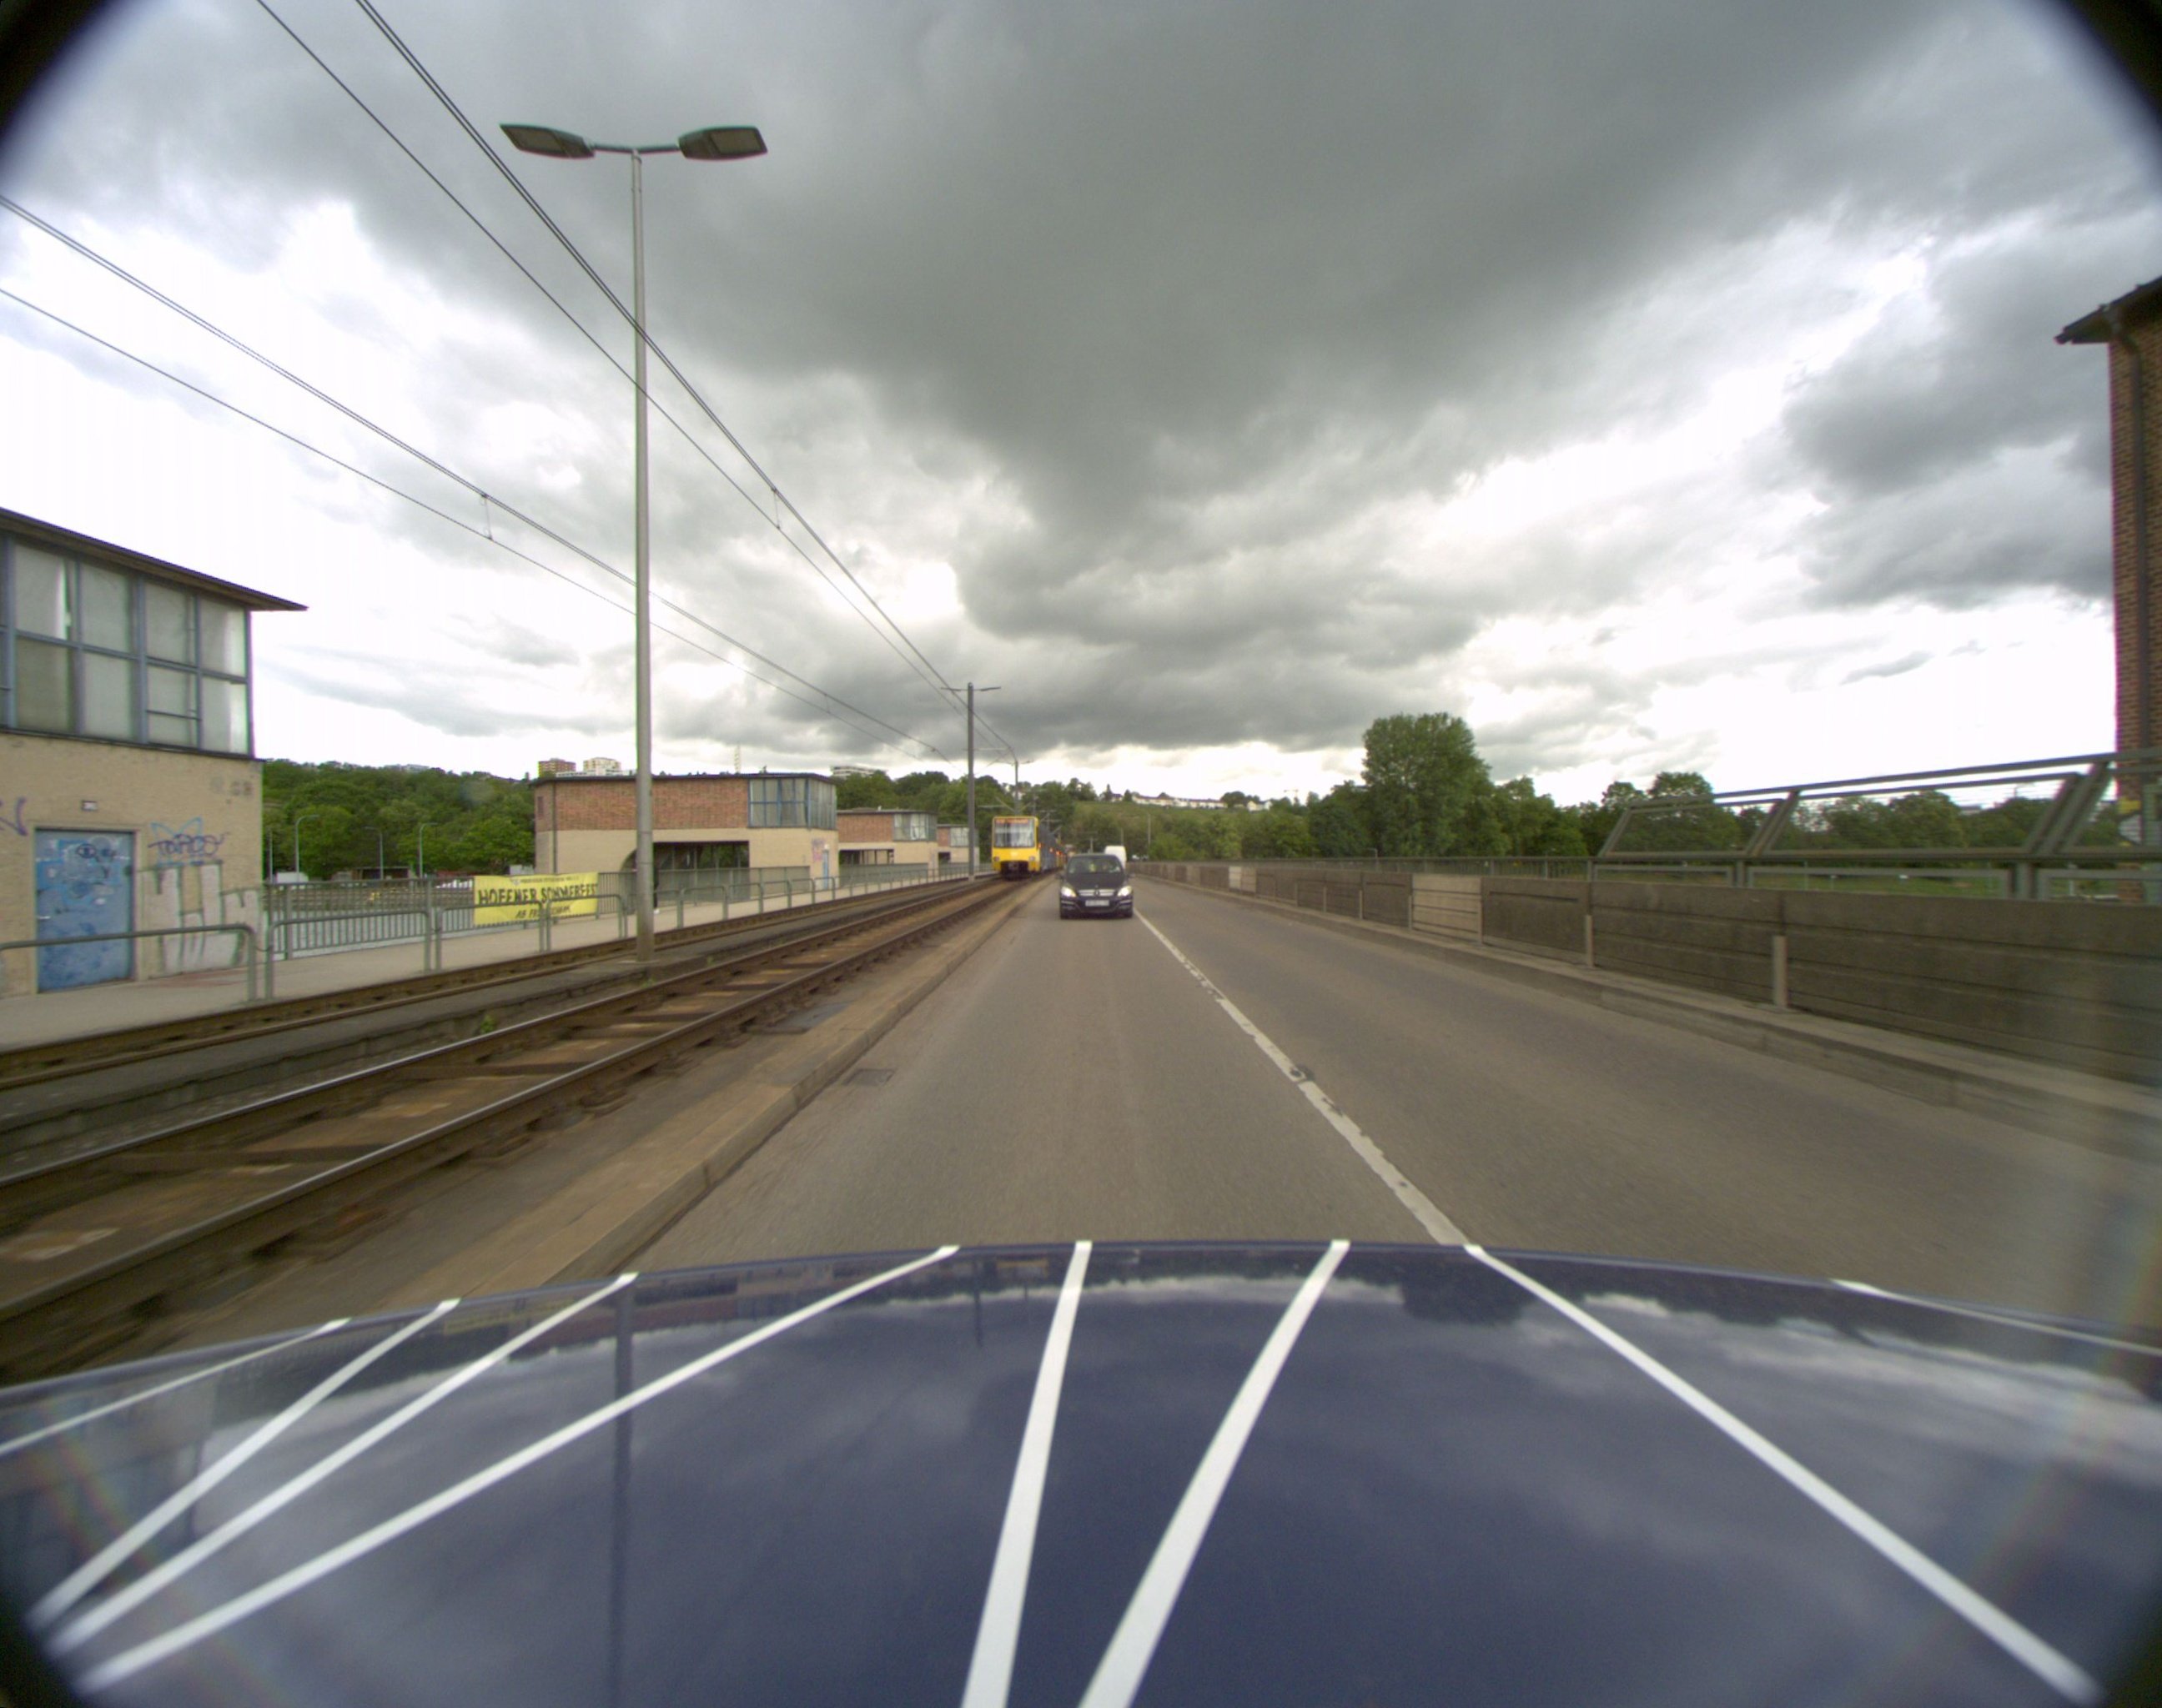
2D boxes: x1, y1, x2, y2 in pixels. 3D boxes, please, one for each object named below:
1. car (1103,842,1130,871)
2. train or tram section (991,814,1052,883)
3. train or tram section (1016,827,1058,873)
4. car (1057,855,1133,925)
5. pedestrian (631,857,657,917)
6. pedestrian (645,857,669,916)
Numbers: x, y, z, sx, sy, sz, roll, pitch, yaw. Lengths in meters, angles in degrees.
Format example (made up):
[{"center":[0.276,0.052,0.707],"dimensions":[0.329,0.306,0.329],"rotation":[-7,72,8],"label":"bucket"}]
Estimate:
[{"center":[3.181,0.254,69.191],"dimensions":[2.038,2.546,7.008],"rotation":[1,-1,0],"label":"car"},{"center":[-3.608,-0.344,51.442],"dimensions":[2.800,3.742,19.889],"rotation":[-1,0,-1],"label":"train or tram section"},{"center":[-3.821,-0.389,71.353],"dimensions":[2.791,3.634,19.890],"rotation":[2,0,0],"label":"train or tram section"},{"center":[0.313,0.844,19.878],"dimensions":[1.711,1.573,4.442],"rotation":[-2,0,0],"label":"car"},{"center":[-11.942,0.895,20.764],"dimensions":[0.346,1.617,0.444],"rotation":[1,0,18],"label":"pedestrian"},{"center":[-11.830,0.902,21.209],"dimensions":[0.330,1.638,0.460],"rotation":[1,0,18],"label":"pedestrian"}]
